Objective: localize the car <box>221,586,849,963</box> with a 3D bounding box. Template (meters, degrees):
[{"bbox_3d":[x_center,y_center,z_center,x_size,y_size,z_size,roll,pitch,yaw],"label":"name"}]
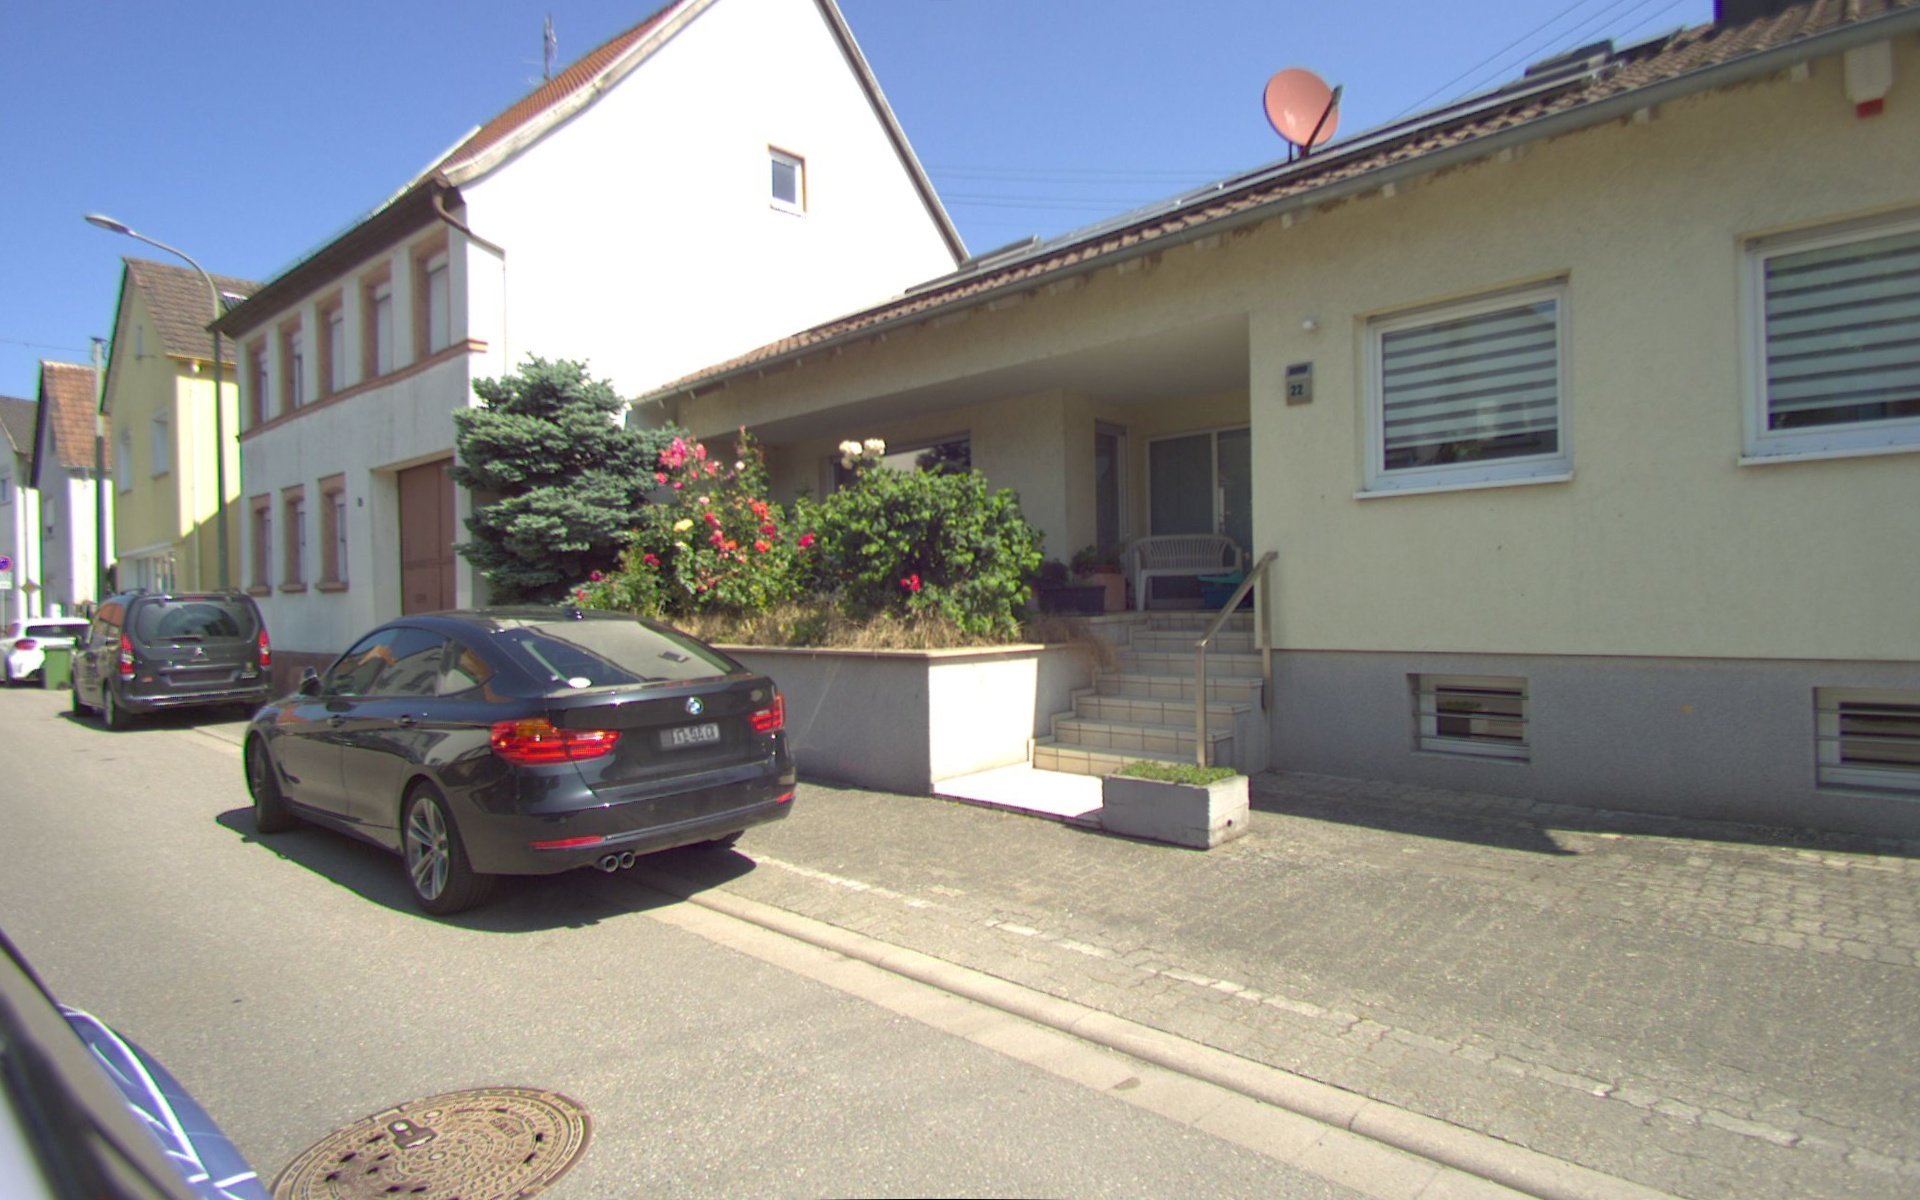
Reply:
[{"bbox_3d":[-2.987,0.748,6.439,4.764,1.538,1.825,-1,0,42],"label":"car"}]

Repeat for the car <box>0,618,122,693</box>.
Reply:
[{"bbox_3d":[-20.128,1.161,22.225,4.265,1.475,1.817,-1,-1,38],"label":"car"}]

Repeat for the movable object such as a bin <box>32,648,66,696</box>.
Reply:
[{"bbox_3d":[-18.159,1.425,20.172,0.419,0.911,0.497,-1,0,-33],"label":"movable object such as a bin"}]

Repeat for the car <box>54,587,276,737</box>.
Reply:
[{"bbox_3d":[-11.637,0.801,14.706,4.352,1.851,1.815,-1,0,42],"label":"car"}]
